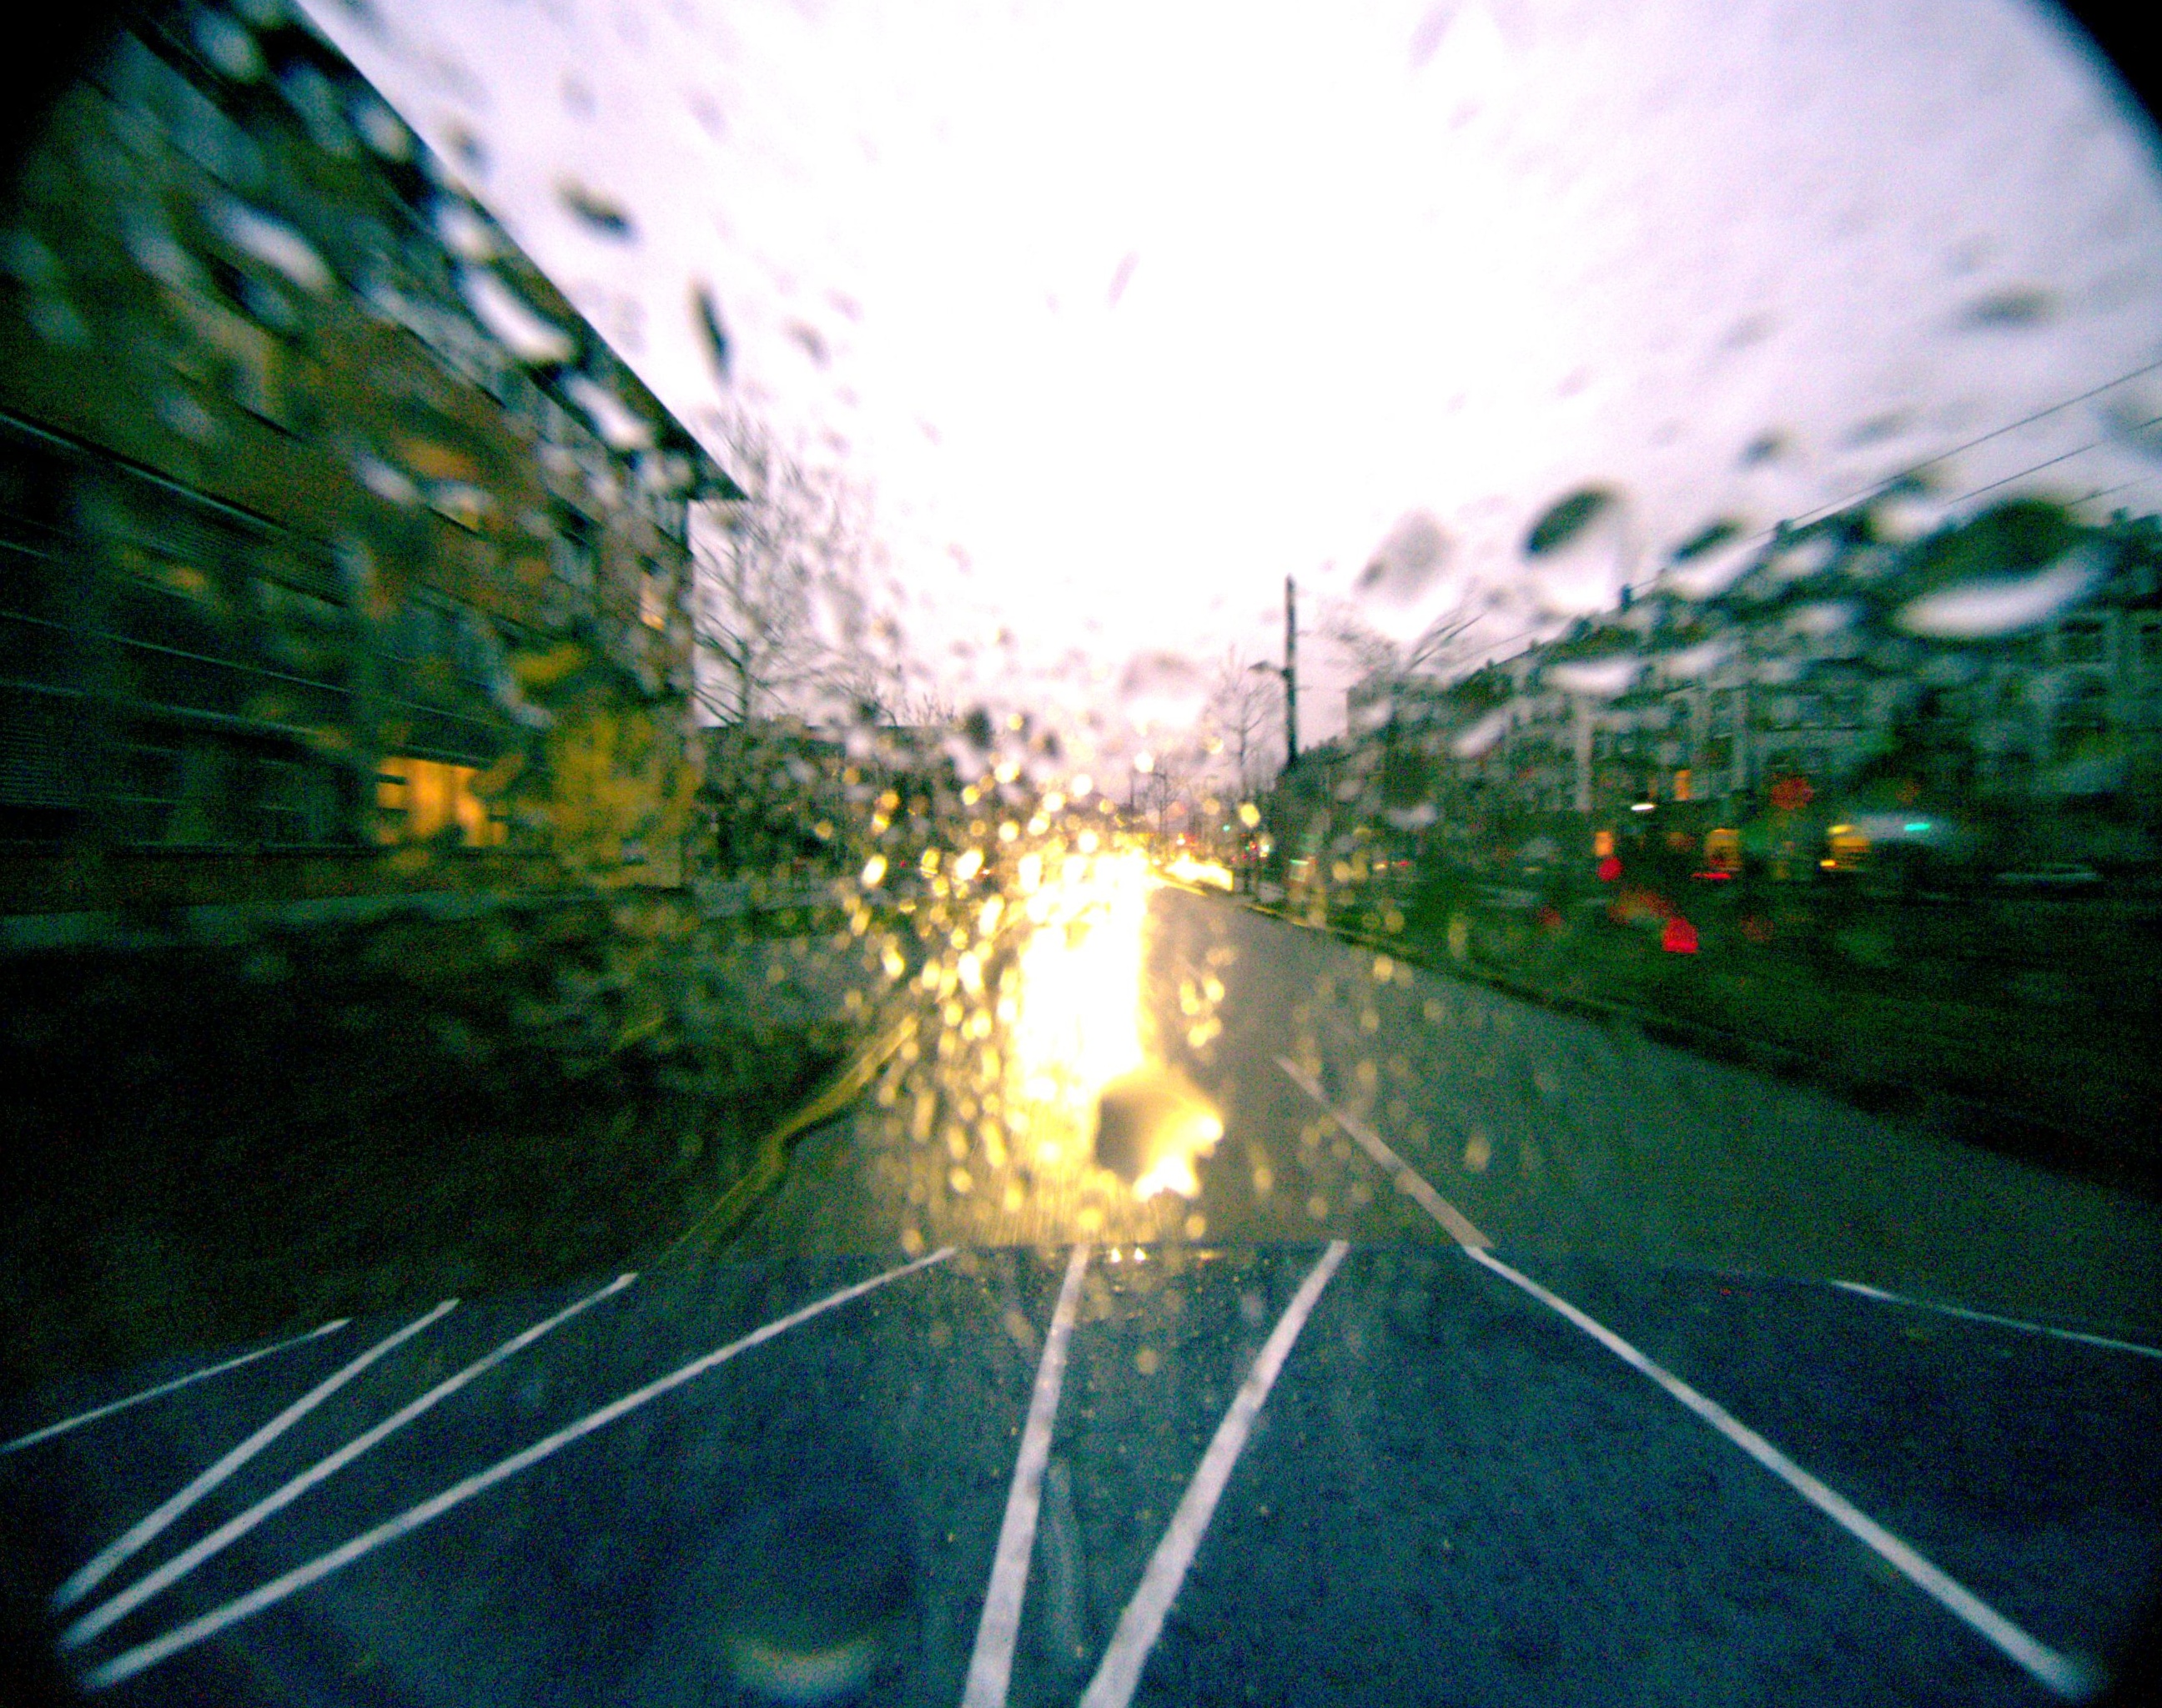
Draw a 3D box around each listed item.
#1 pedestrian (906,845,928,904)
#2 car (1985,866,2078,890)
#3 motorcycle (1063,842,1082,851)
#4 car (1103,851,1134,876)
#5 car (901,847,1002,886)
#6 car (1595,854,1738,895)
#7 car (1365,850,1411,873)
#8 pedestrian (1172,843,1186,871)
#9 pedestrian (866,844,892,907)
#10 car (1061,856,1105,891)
[{"bbox_3d":[-5.130,0.643,23.755,0.506,1.814,0.656,0,1,-26],"label":"pedestrian"},{"bbox_3d":[46.803,1.176,37.437,2.897,1.069,1.331,1,0,-1],"label":"car"},{"bbox_3d":[-1.886,-1.630,164.560,3.997,2.002,0.926,-2,1,0],"label":"motorcycle"},{"bbox_3d":[2.384,0.567,49.227,1.814,1.487,4.053,-1,0,0],"label":"car"},{"bbox_3d":[-5.544,0.537,32.902,3.997,1.546,1.742,1,1,1],"label":"car"},{"bbox_3d":[22.395,0.731,29.359,1.869,1.444,4.699,1,0,0],"label":"car"},{"bbox_3d":[23.475,0.522,58.187,1.869,1.628,4.000,-3,0,0],"label":"car"},{"bbox_3d":[7.236,0.240,56.102,0.877,2.002,0.931,1,1,11],"label":"pedestrian"},{"bbox_3d":[-5.695,0.590,21.437,0.506,1.732,0.656,0,1,-33],"label":"pedestrian"},{"bbox_3d":[0.076,0.815,33.682,1.814,1.384,4.053,-1,0,0],"label":"car"}]
